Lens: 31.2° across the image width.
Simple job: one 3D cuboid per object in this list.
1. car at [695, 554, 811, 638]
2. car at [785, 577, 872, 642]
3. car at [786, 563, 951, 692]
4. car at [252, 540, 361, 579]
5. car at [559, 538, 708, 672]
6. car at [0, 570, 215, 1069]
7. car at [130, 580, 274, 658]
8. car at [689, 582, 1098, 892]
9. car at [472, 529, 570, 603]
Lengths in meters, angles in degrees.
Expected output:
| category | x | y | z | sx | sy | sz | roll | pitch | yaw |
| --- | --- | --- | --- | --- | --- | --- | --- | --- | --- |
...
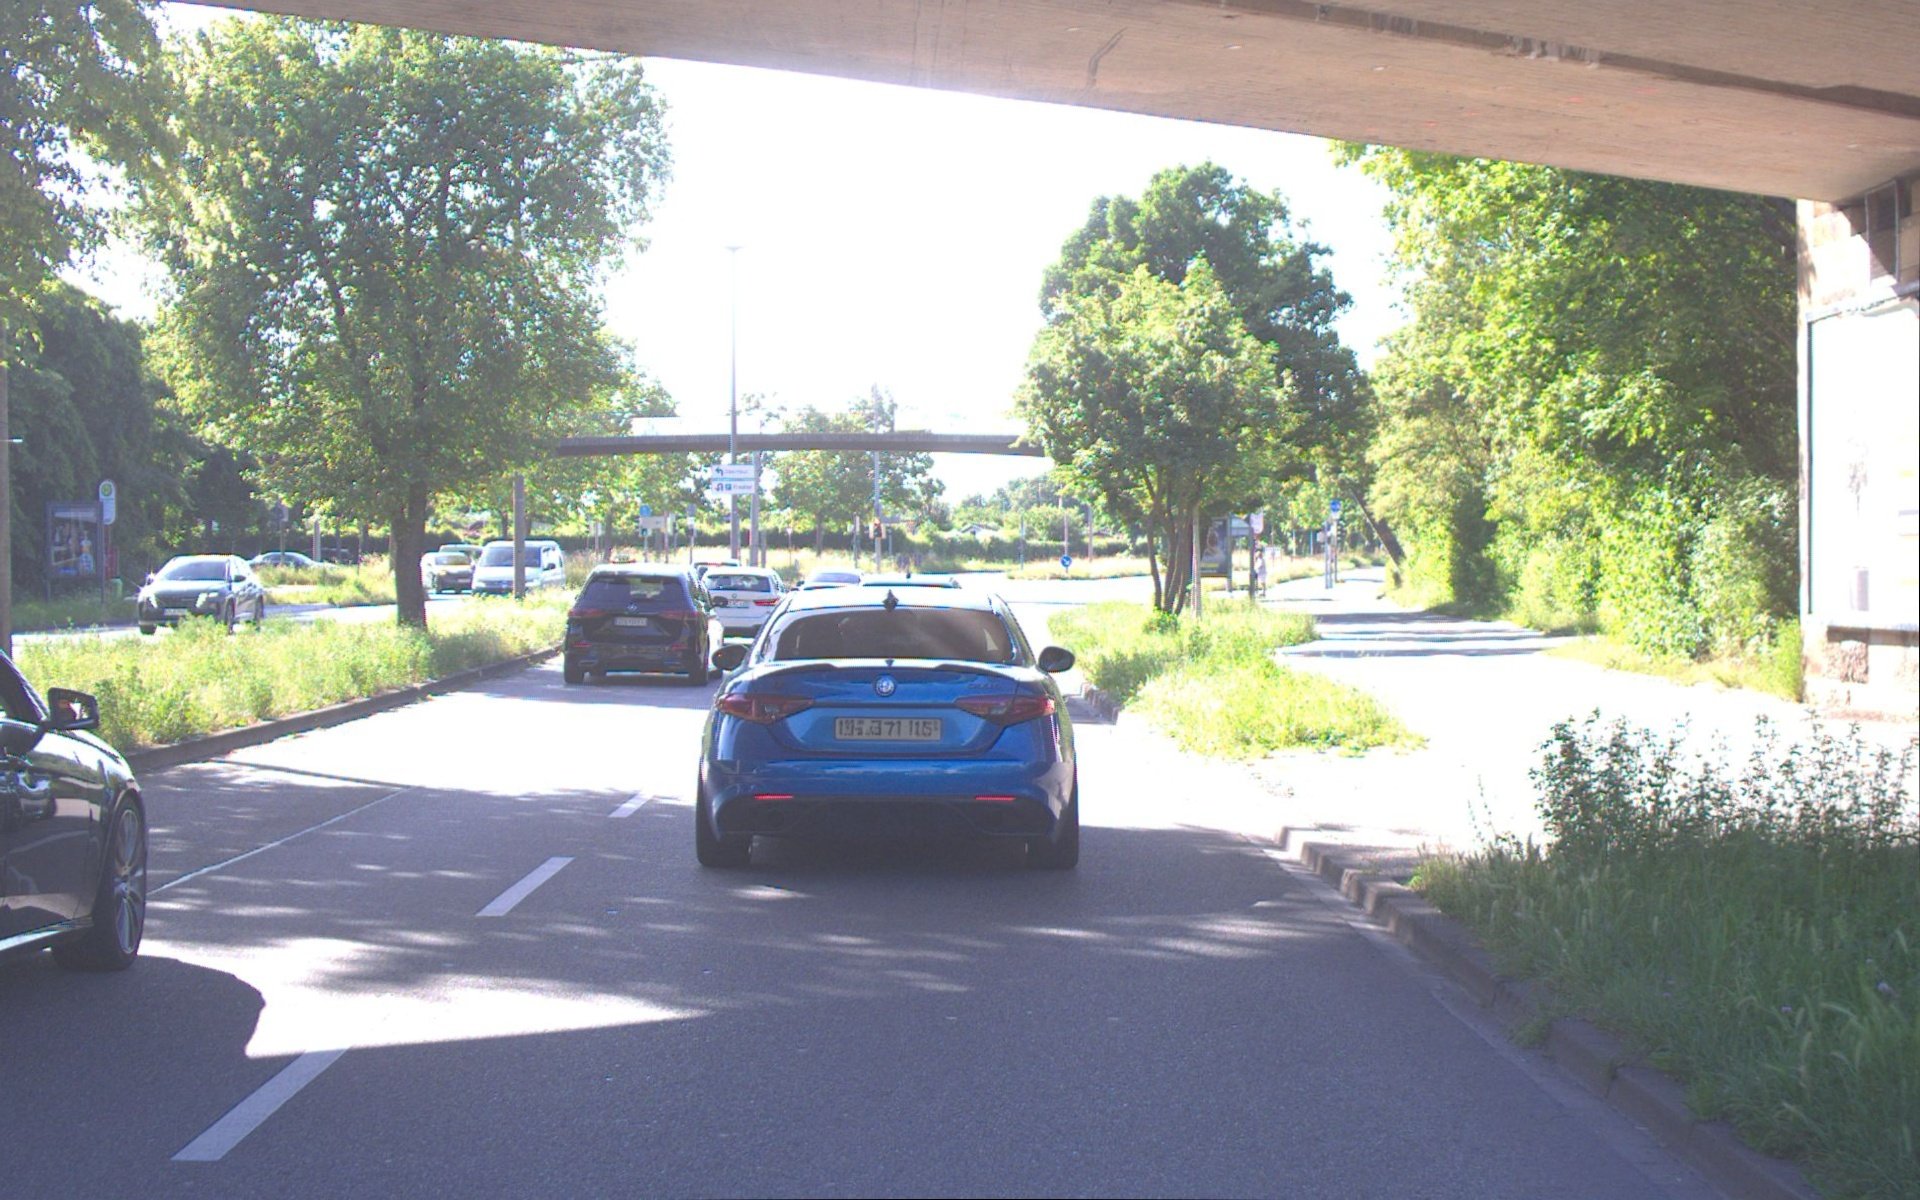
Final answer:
| category | x | y | z | sx | sy | sz | roll | pitch | yaw |
| --- | --- | --- | --- | --- | --- | --- | --- | --- | --- |
| car | -3.765 | -0.092 | 63.093 | 1.883 | 1.449 | 4.526 | 1 | 0 | -1 |
| car | -3.059 | 0.203 | 80.766 | 1.883 | 1.449 | 4.526 | 1 | 0 | -1 |
| car | -1.085 | 0.299 | 42.048 | 1.883 | 1.449 | 4.526 | 1 | 0 | -1 |
| car | -29.202 | -1.798 | 153.670 | 4.311 | 1.645 | 1.998 | 1 | 0 | 20 |
| car | -4.129 | 0.042 | 43.984 | 1.707 | 1.592 | 4.224 | 1 | 0 | -3 |
| car | -3.843 | 0.649 | 10.727 | 1.959 | 1.478 | 4.918 | 0 | 1 | 0 |
| car | -15.982 | 0.386 | 72.715 | 1.982 | 1.547 | 4.592 | 1 | 0 | 0 |
| car | -0.335 | 0.629 | 18.191 | 1.883 | 1.401 | 4.224 | 1 | 0 | -1 |
| car | -11.670 | -0.898 | 91.704 | 1.993 | 1.922 | 5.245 | 0 | 0 | -1 |
